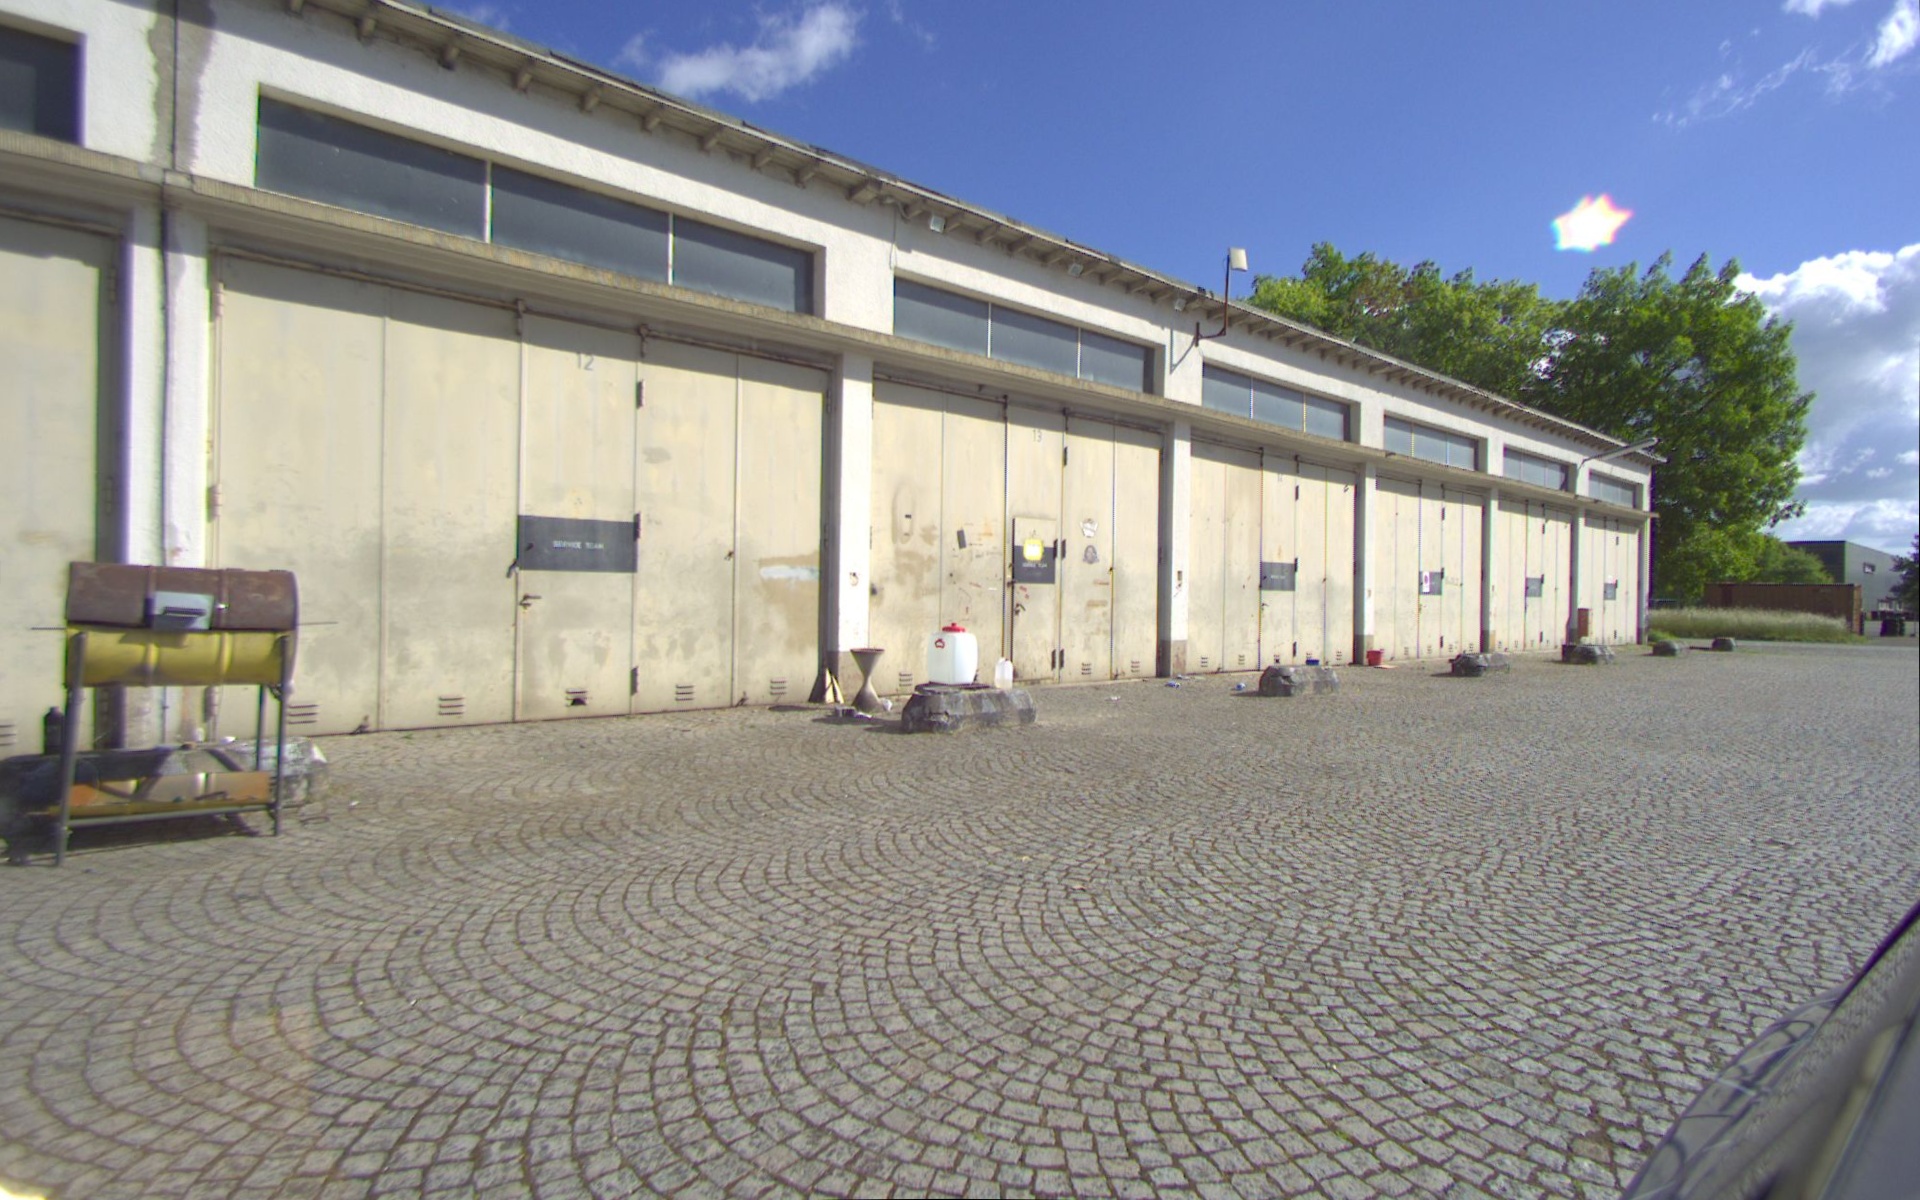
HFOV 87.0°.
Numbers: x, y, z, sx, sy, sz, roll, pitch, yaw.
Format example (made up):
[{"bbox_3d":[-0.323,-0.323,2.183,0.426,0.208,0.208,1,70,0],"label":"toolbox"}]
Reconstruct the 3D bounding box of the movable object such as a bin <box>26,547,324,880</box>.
[{"bbox_3d":[-3.864,0.477,5.005,1.082,1.419,0.876,0,0,-42],"label":"movable object such as a bin"}]
